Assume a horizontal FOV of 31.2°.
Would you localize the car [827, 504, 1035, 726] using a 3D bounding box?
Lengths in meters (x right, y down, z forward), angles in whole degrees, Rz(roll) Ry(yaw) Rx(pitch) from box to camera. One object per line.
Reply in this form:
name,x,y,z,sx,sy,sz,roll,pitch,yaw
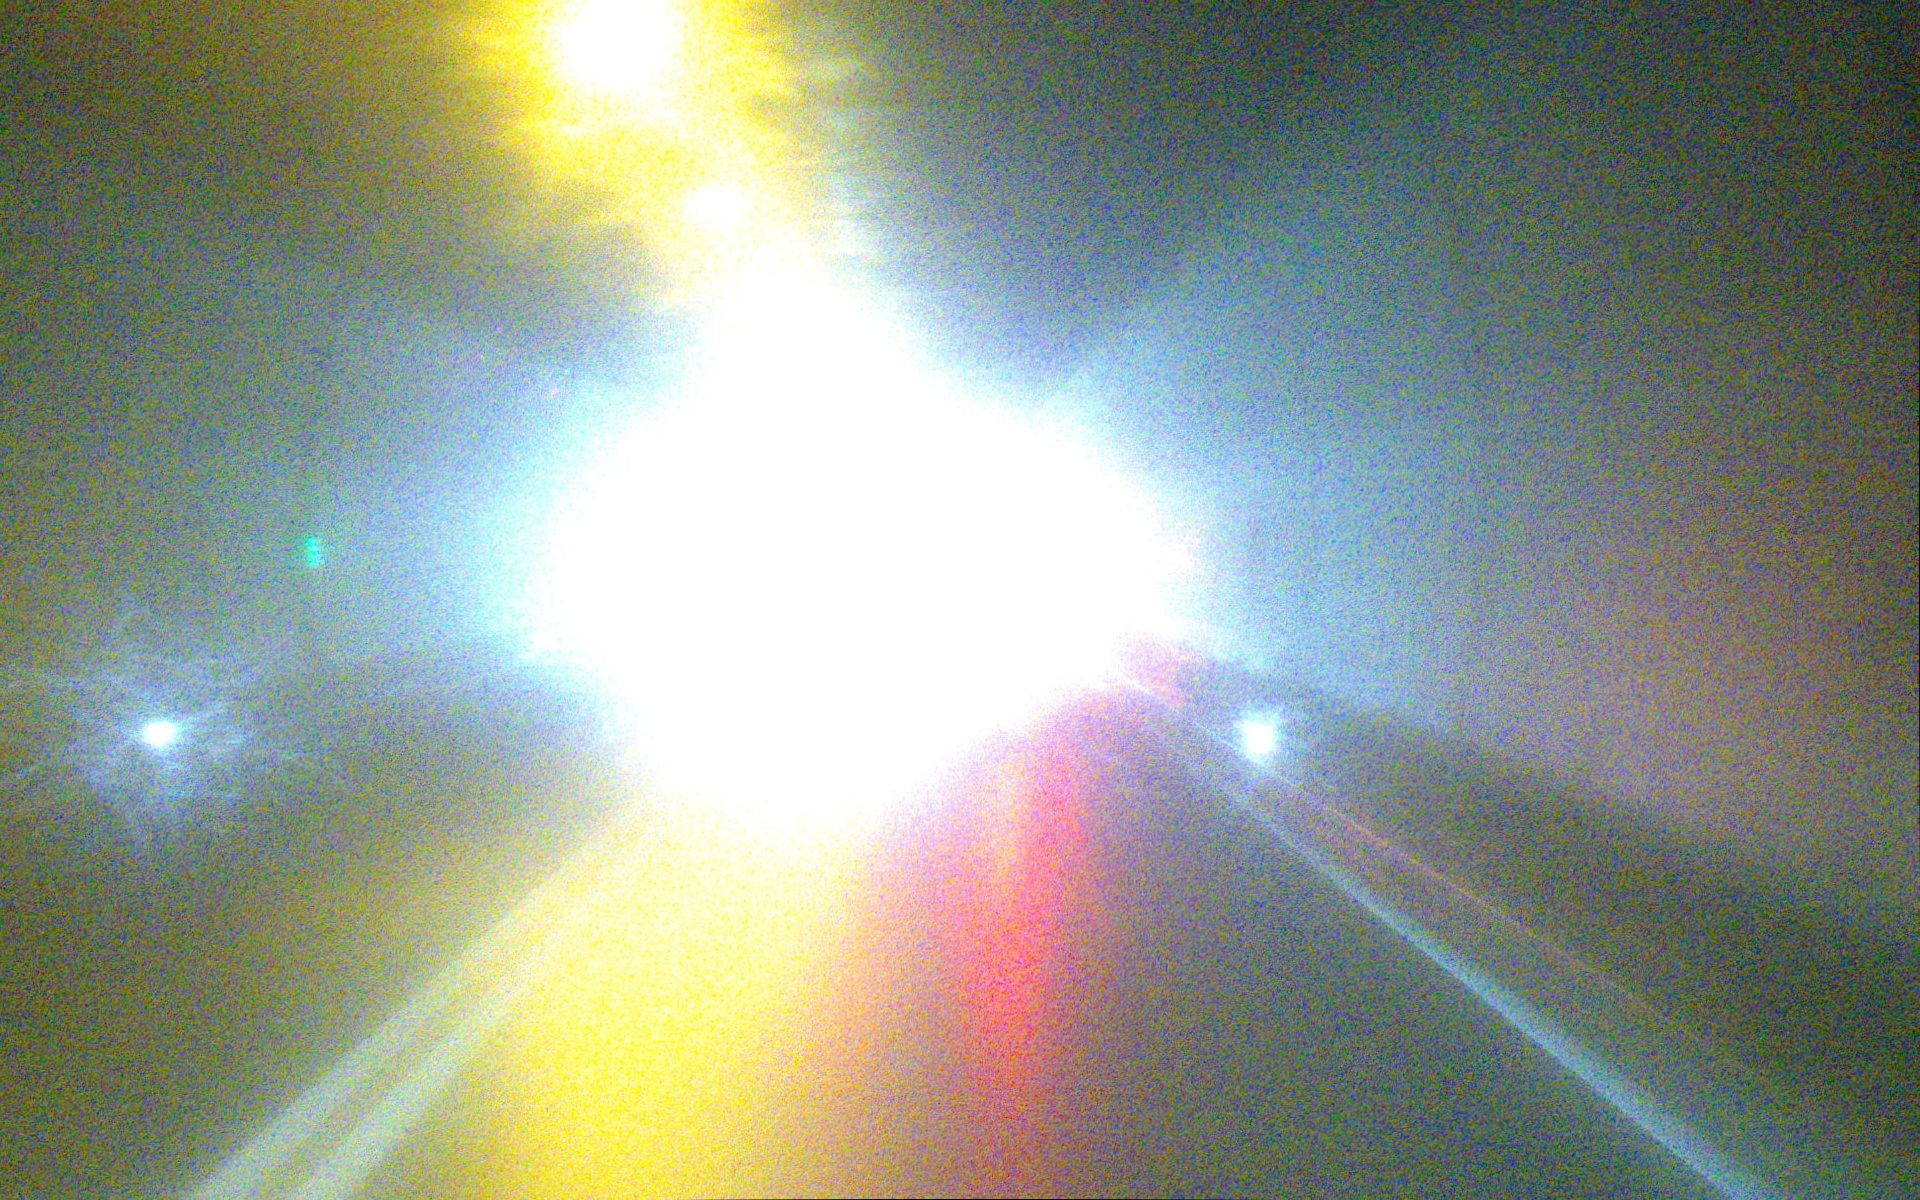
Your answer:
car,-0.224,0.068,29.368,1.635,1.752,4.146,0,1,0
